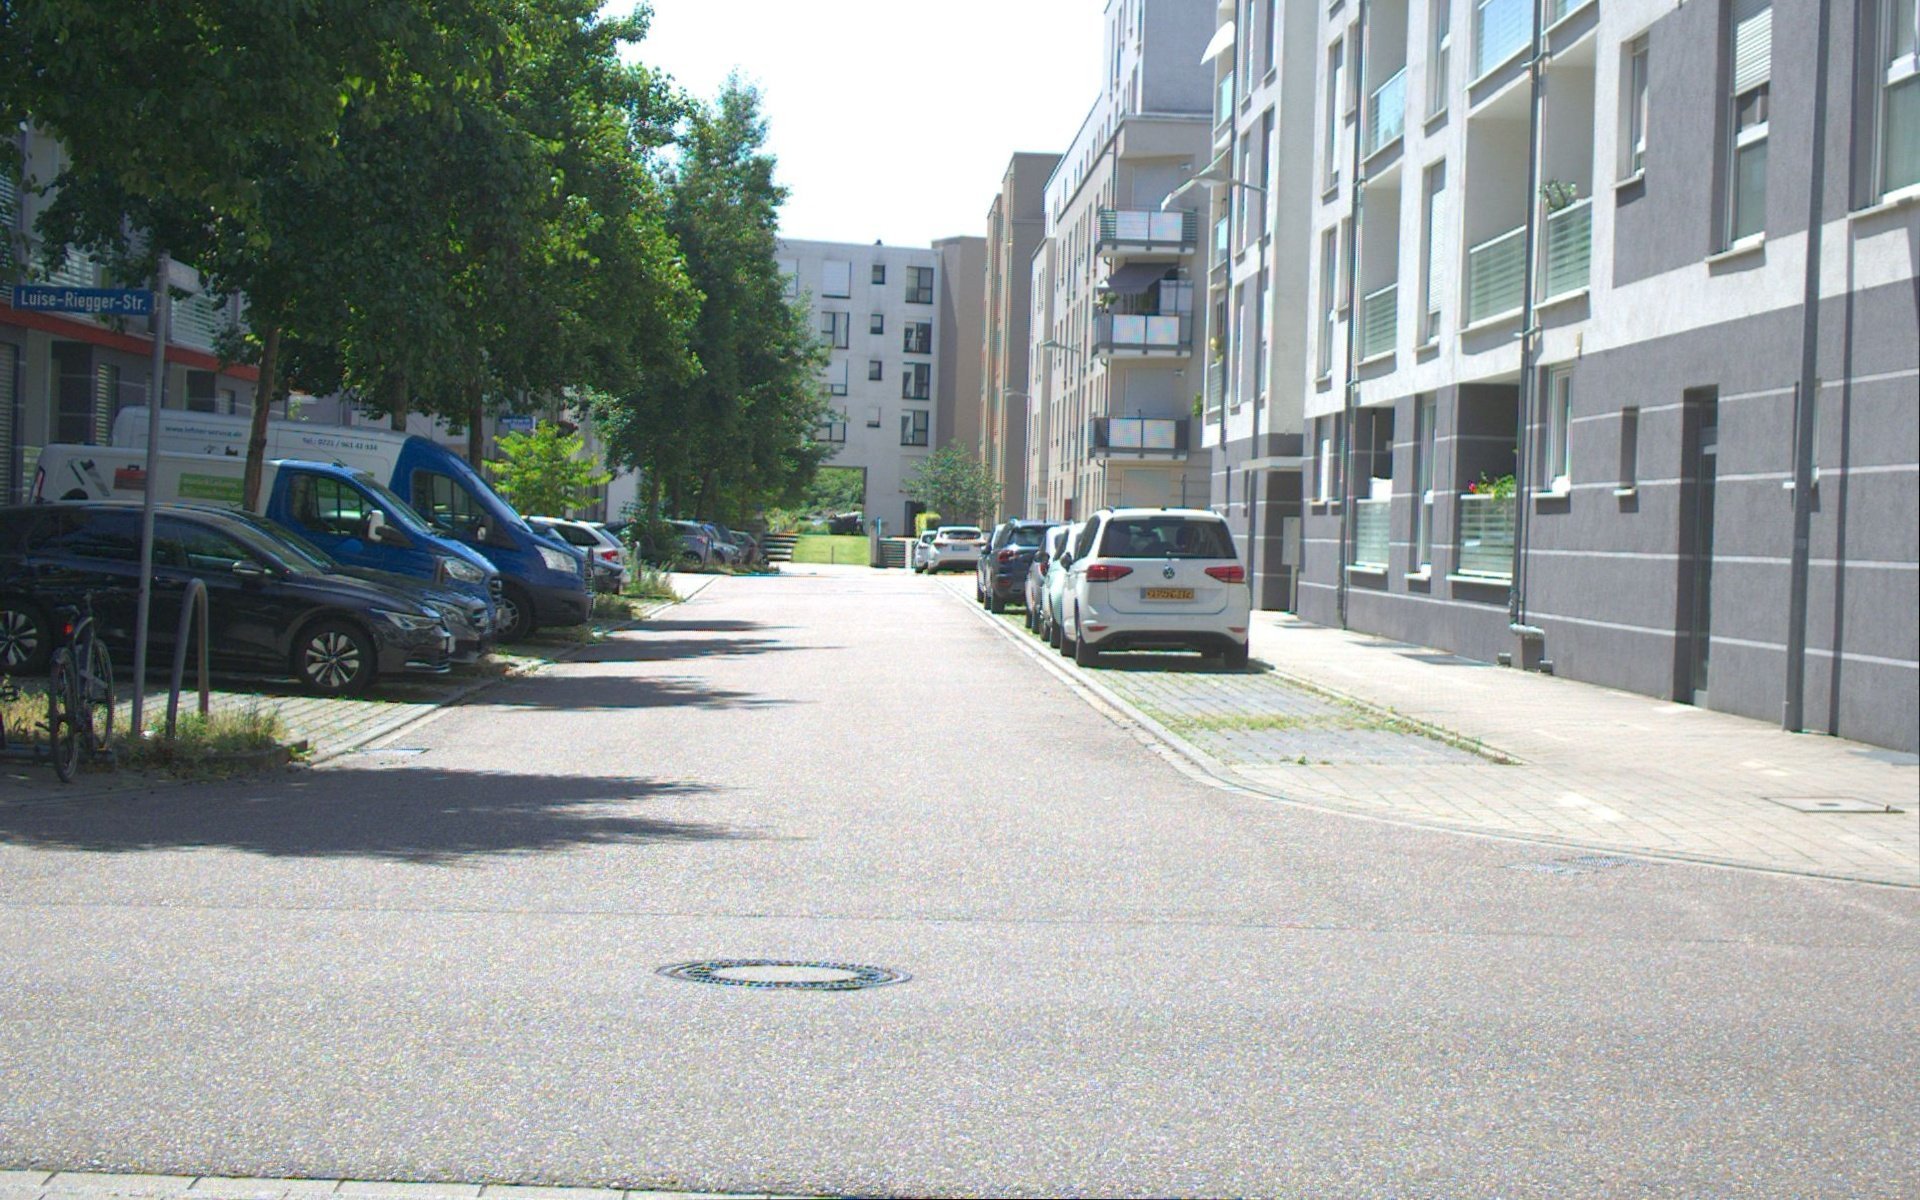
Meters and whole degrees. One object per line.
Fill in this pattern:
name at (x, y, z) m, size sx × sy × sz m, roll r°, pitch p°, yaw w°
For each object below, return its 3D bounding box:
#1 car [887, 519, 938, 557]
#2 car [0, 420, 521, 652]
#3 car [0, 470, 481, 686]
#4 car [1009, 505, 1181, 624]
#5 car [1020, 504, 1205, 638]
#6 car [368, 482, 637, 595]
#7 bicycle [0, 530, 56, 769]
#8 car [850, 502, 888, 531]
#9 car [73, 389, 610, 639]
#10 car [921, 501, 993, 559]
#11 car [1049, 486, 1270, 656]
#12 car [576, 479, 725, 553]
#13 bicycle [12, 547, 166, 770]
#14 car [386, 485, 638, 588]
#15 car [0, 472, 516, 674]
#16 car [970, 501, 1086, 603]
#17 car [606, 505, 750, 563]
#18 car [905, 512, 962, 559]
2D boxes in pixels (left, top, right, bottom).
car at (-2.017, -2.644, 146.233) m, size 1.993 × 1.514 × 4.001 m, roll 2°, pitch 2°, yaw -3°
car at (-7.357, -0.690, 36.146) m, size 5.144 × 2.112 × 2.312 m, roll 3°, pitch 2°, yaw -1°
car at (-6.401, -0.223, 28.986) m, size 4.383 × 1.509 × 2.075 m, roll 4°, pitch 1°, yaw -1°
car at (1.791, -0.520, 46.869) m, size 1.993 × 1.519 × 4.001 m, roll 1°, pitch 2°, yaw -3°
car at (1.809, -0.391, 42.041) m, size 1.993 × 1.519 × 4.001 m, roll 1°, pitch 2°, yaw -1°
car at (-7.288, -0.993, 55.050) m, size 3.987 × 1.656 × 2.000 m, roll 2°, pitch 1°, yaw 1°
bicycle at (-5.406, 0.231, 18.888) m, size 0.570 × 1.170 × 1.769 m, roll 5°, pitch 3°, yaw -9°
car at (-4.986, -4.572, 188.277) m, size 1.993 × 1.514 × 4.001 m, roll 2°, pitch 2°, yaw -3°
car at (-7.373, -1.041, 41.572) m, size 6.023 × 2.806 × 2.605 m, roll 1°, pitch 1°, yaw -1°
car at (-0.112, -2.151, 104.963) m, size 1.993 × 1.669 × 4.001 m, roll 2°, pitch 2°, yaw -3°
car at (2.048, -0.346, 36.342) m, size 1.997 × 1.651 × 4.115 m, roll 1°, pitch 2°, yaw -1°
car at (-9.020, -2.449, 100.384) m, size 3.988 × 2.007 × 2.000 m, roll 2°, pitch 1°, yaw 5°
bicycle at (-4.822, 0.296, 19.120) m, size 0.466 × 1.137 × 1.927 m, roll 2°, pitch 2°, yaw -4°
car at (-7.632, -1.090, 58.780) m, size 3.987 × 1.612 × 2.000 m, roll 2°, pitch 1°, yaw 1°
car at (-6.398, -0.261, 31.451) m, size 4.383 × 1.536 × 1.878 m, roll 3°, pitch 1°, yaw -1°
car at (1.136, -0.807, 56.436) m, size 1.757 × 1.547 × 4.000 m, roll 2°, pitch 2°, yaw 2°
car at (-8.444, -1.989, 102.998) m, size 3.987 × 1.597 × 2.000 m, roll 2°, pitch 1°, yaw 5°
car at (-1.025, -2.497, 132.182) m, size 1.993 × 1.711 × 4.001 m, roll 2°, pitch 2°, yaw -3°
